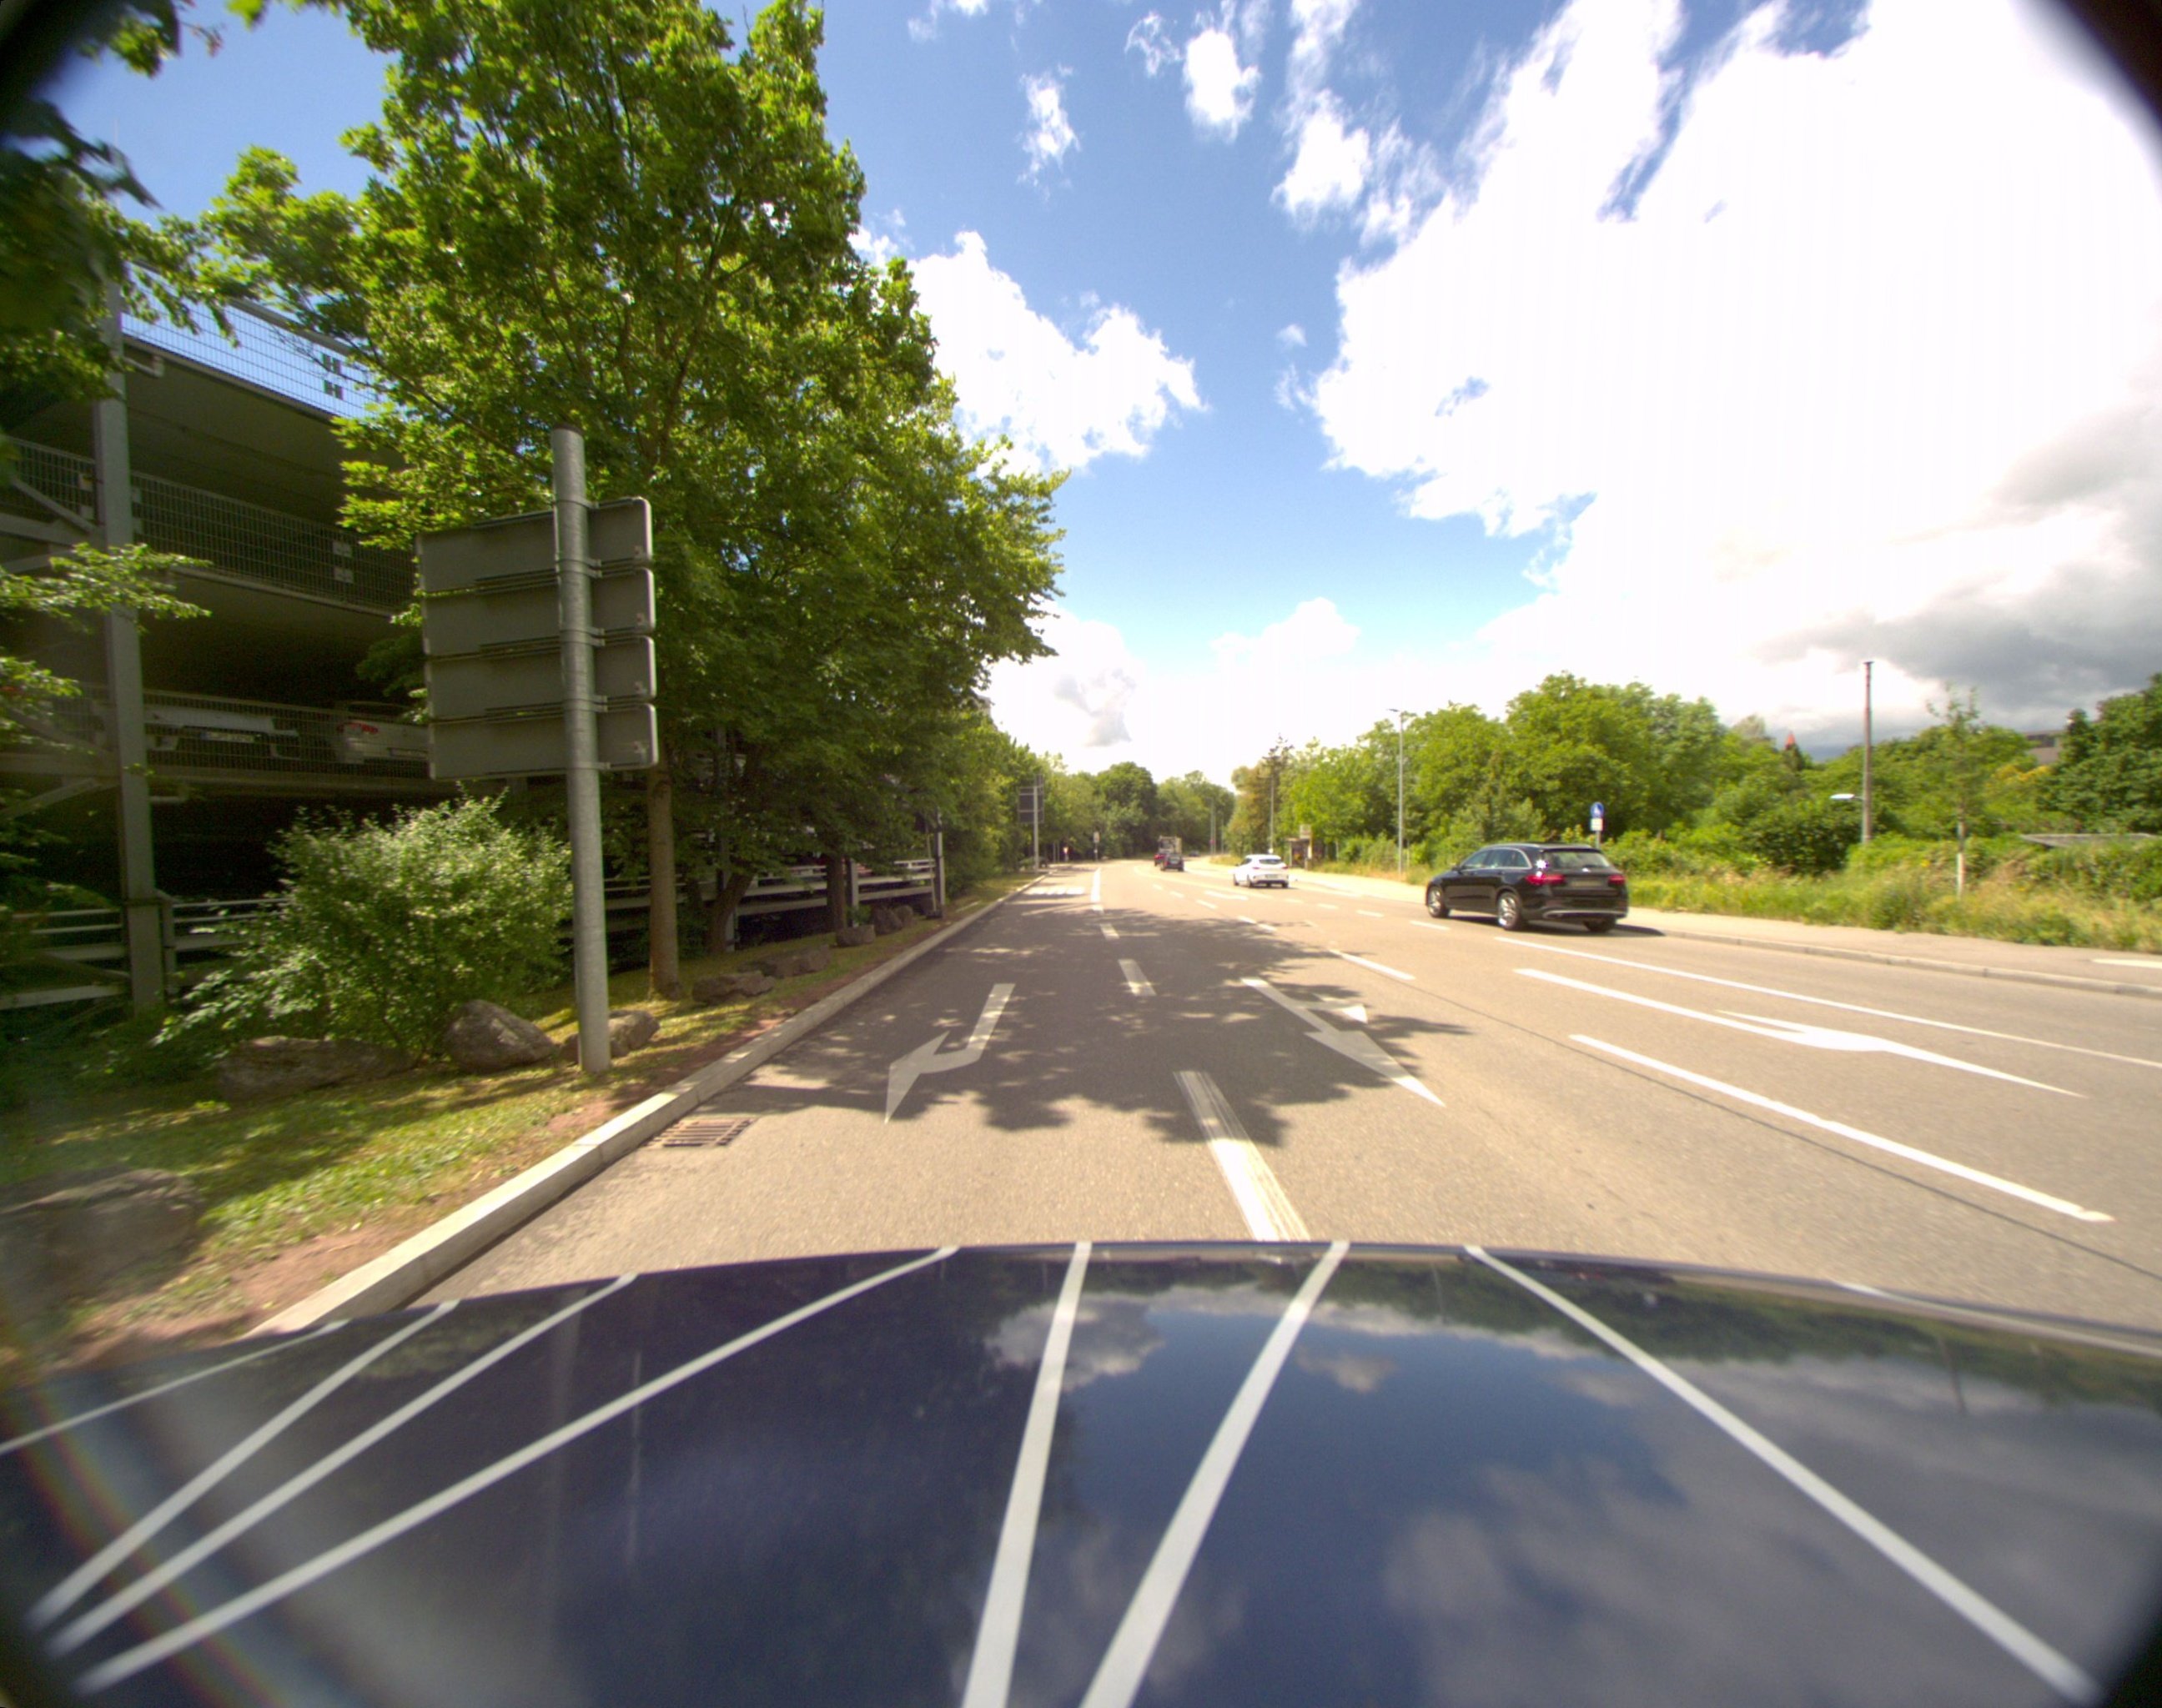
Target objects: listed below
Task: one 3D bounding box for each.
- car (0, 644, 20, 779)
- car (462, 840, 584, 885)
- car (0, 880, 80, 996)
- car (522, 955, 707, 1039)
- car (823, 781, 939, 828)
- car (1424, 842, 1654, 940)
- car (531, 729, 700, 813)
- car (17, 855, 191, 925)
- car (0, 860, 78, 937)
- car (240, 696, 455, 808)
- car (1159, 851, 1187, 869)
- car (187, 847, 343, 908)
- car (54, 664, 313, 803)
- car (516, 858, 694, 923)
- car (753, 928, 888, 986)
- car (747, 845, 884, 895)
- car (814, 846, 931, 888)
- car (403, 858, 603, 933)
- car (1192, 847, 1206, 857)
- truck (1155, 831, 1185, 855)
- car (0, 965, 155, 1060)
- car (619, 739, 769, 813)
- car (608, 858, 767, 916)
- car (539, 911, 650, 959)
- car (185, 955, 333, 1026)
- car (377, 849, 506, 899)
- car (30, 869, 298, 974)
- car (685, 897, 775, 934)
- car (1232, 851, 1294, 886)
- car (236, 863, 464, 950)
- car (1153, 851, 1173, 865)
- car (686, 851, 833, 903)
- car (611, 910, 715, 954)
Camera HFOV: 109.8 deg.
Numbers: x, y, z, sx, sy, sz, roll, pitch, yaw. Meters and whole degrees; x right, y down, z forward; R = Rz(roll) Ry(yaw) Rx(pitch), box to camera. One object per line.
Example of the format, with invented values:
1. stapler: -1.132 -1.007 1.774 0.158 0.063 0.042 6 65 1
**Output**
1. car: -14.883 -1.723 9.230 3.694 1.553 1.662 -1 -1 25
2. car: -19.671 0.256 26.804 3.847 1.477 1.756 1 2 24
3. car: -15.022 1.066 9.779 3.848 1.384 1.698 -1 1 24
4. car: -11.255 3.366 18.343 3.848 1.444 1.839 -1 1 22
5. car: -6.985 -1.679 26.574 3.694 1.403 1.662 -1 -1 25
6. car: 8.707 0.603 15.024 1.825 1.644 4.532 0 0 0
7. car: -11.097 -1.903 18.114 3.694 1.610 1.662 -1 -1 25
8. car: -23.893 0.804 18.578 3.847 1.477 1.698 1 2 24
9. car: -23.757 0.925 16.387 3.847 1.477 1.698 1 2 24
10. car: -13.691 -1.794 14.180 3.694 1.610 1.662 -1 -1 25
11. car: 7.682 0.496 63.949 1.771 1.434 4.376 0 1 -1
12. car: -22.215 0.586 20.684 3.847 1.477 1.698 1 2 24
13. car: -13.903 -1.731 11.764 3.694 1.610 1.662 -1 -1 25
14. car: -11.361 0.821 18.137 3.848 1.384 1.698 -1 1 24
15. car: -8.463 3.293 24.709 3.848 1.444 1.839 -1 1 22
16. car: -8.563 0.488 24.538 3.848 1.506 1.839 -1 1 22
17. car: -7.324 0.445 26.749 3.694 1.404 1.662 -1 1 23
18. car: -12.284 0.825 16.154 3.848 1.384 1.698 -1 1 24
19. car: 24.557 -0.370 157.741 1.995 2.002 4.006 2 2 22
20. truck: 15.537 -1.968 131.306 3.236 3.839 9.885 1 2 18
21. car: -23.279 3.518 17.353 3.847 1.439 1.698 1 2 24
22. car: -10.440 -2.022 20.488 3.694 1.631 1.662 -1 -1 25
23. car: -10.531 0.847 20.346 3.848 1.384 1.698 -1 1 24
24. car: -18.692 3.063 29.190 3.847 1.458 1.756 1 2 24
25. car: -22.297 3.641 20.611 3.617 1.327 1.608 1 2 24
26. car: -20.903 0.594 24.837 3.847 1.477 1.698 1 2 24
27. car: -14.587 0.971 12.085 3.848 1.384 1.698 -1 1 24
28. car: -16.535 2.865 35.795 3.847 1.417 1.756 1 2 24
29. car: 8.066 0.600 34.043 1.771 1.434 3.899 0 1 -1
30. car: -13.660 0.907 14.203 3.848 1.384 1.698 -1 1 24
31. car: 9.158 0.432 85.075 1.827 1.548 4.629 1 0 2
32. car: -9.509 0.650 22.468 3.848 1.384 1.816 -1 1 24
33. car: -17.245 3.177 31.327 3.847 1.417 1.756 1 2 24
